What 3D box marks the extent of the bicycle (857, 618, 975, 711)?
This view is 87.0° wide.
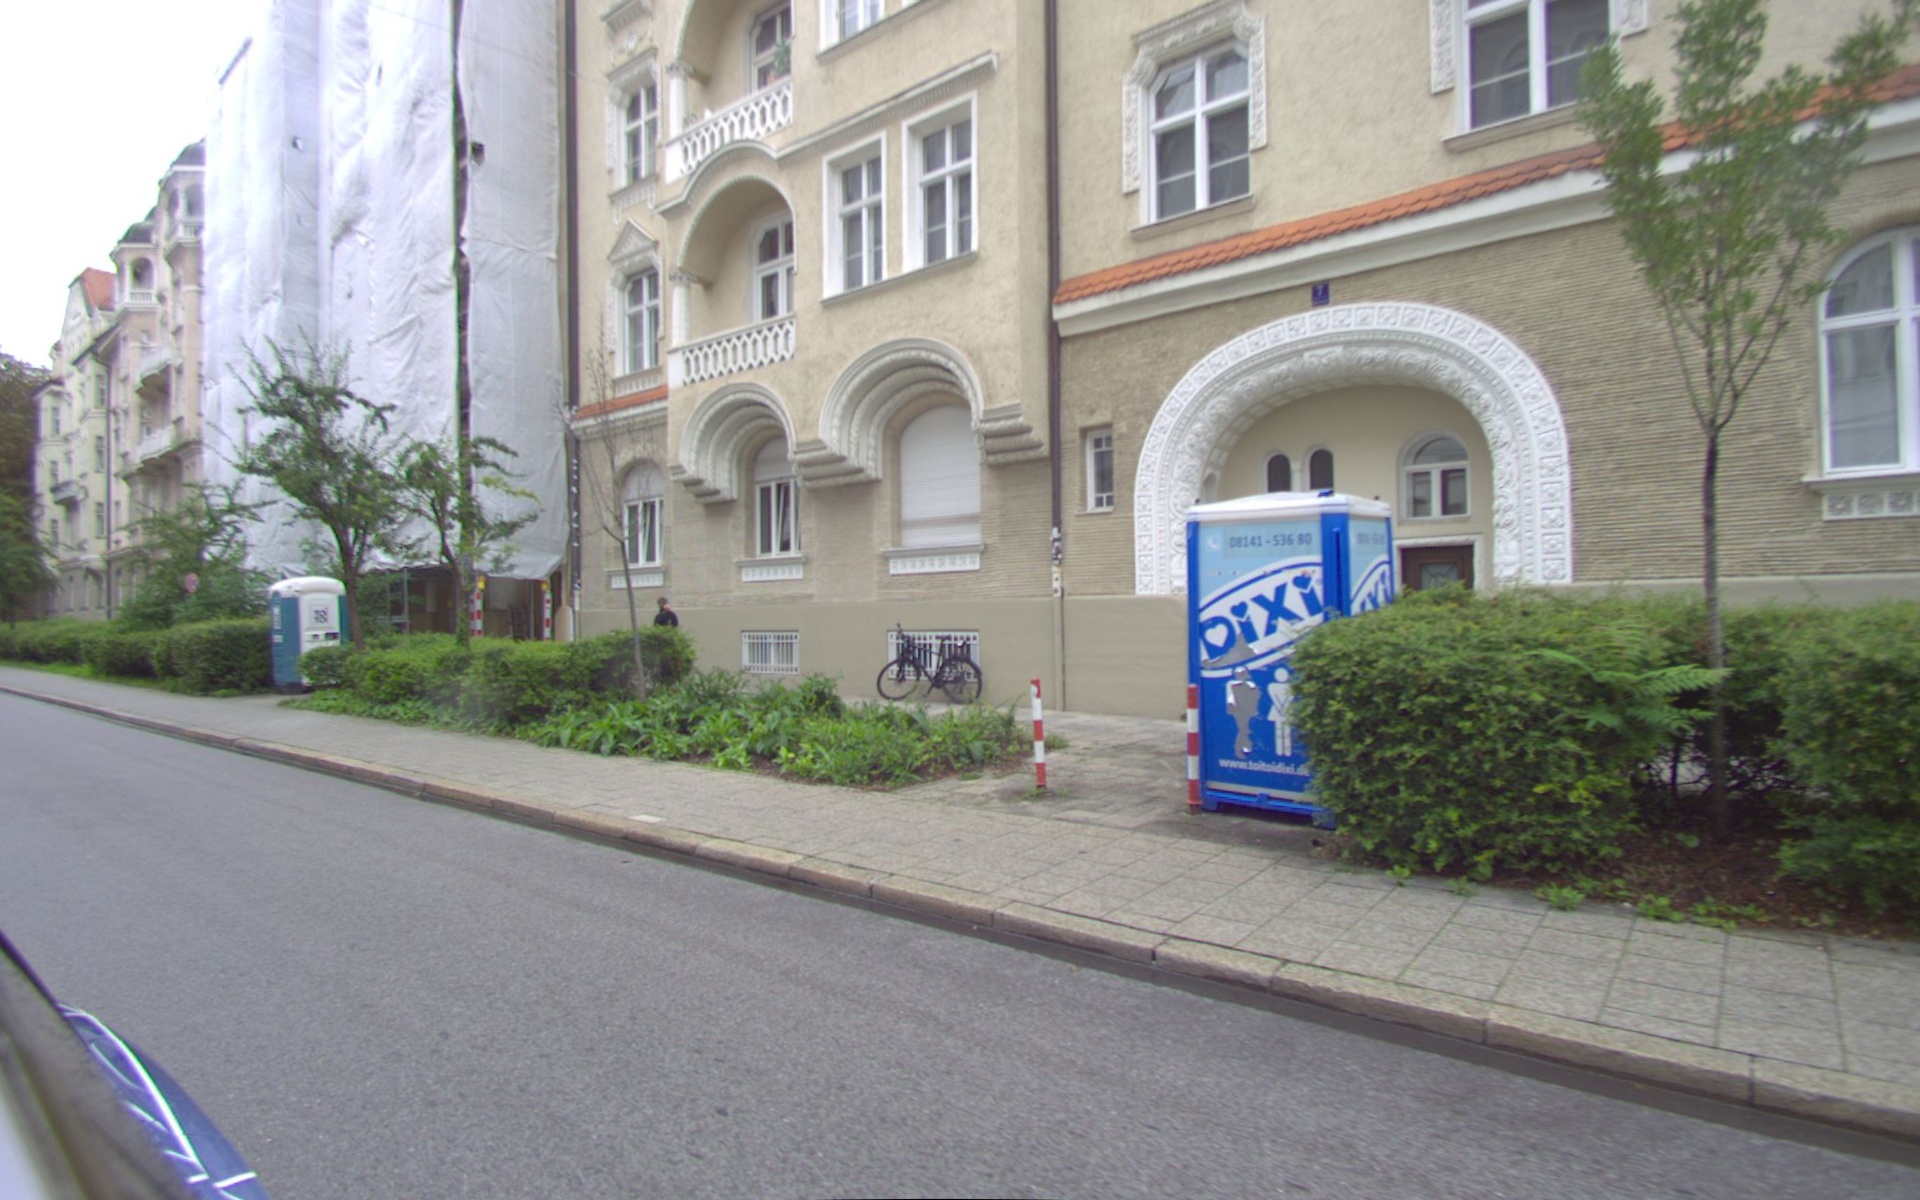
[{"bbox_3d":[-0.666,0.930,15.002,1.702,1.285,0.737,-2,-2,41],"label":"bicycle"}]

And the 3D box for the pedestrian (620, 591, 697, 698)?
[{"bbox_3d":[-5.172,0.751,17.374,0.947,1.765,0.904,-2,-2,40],"label":"pedestrian"}]
